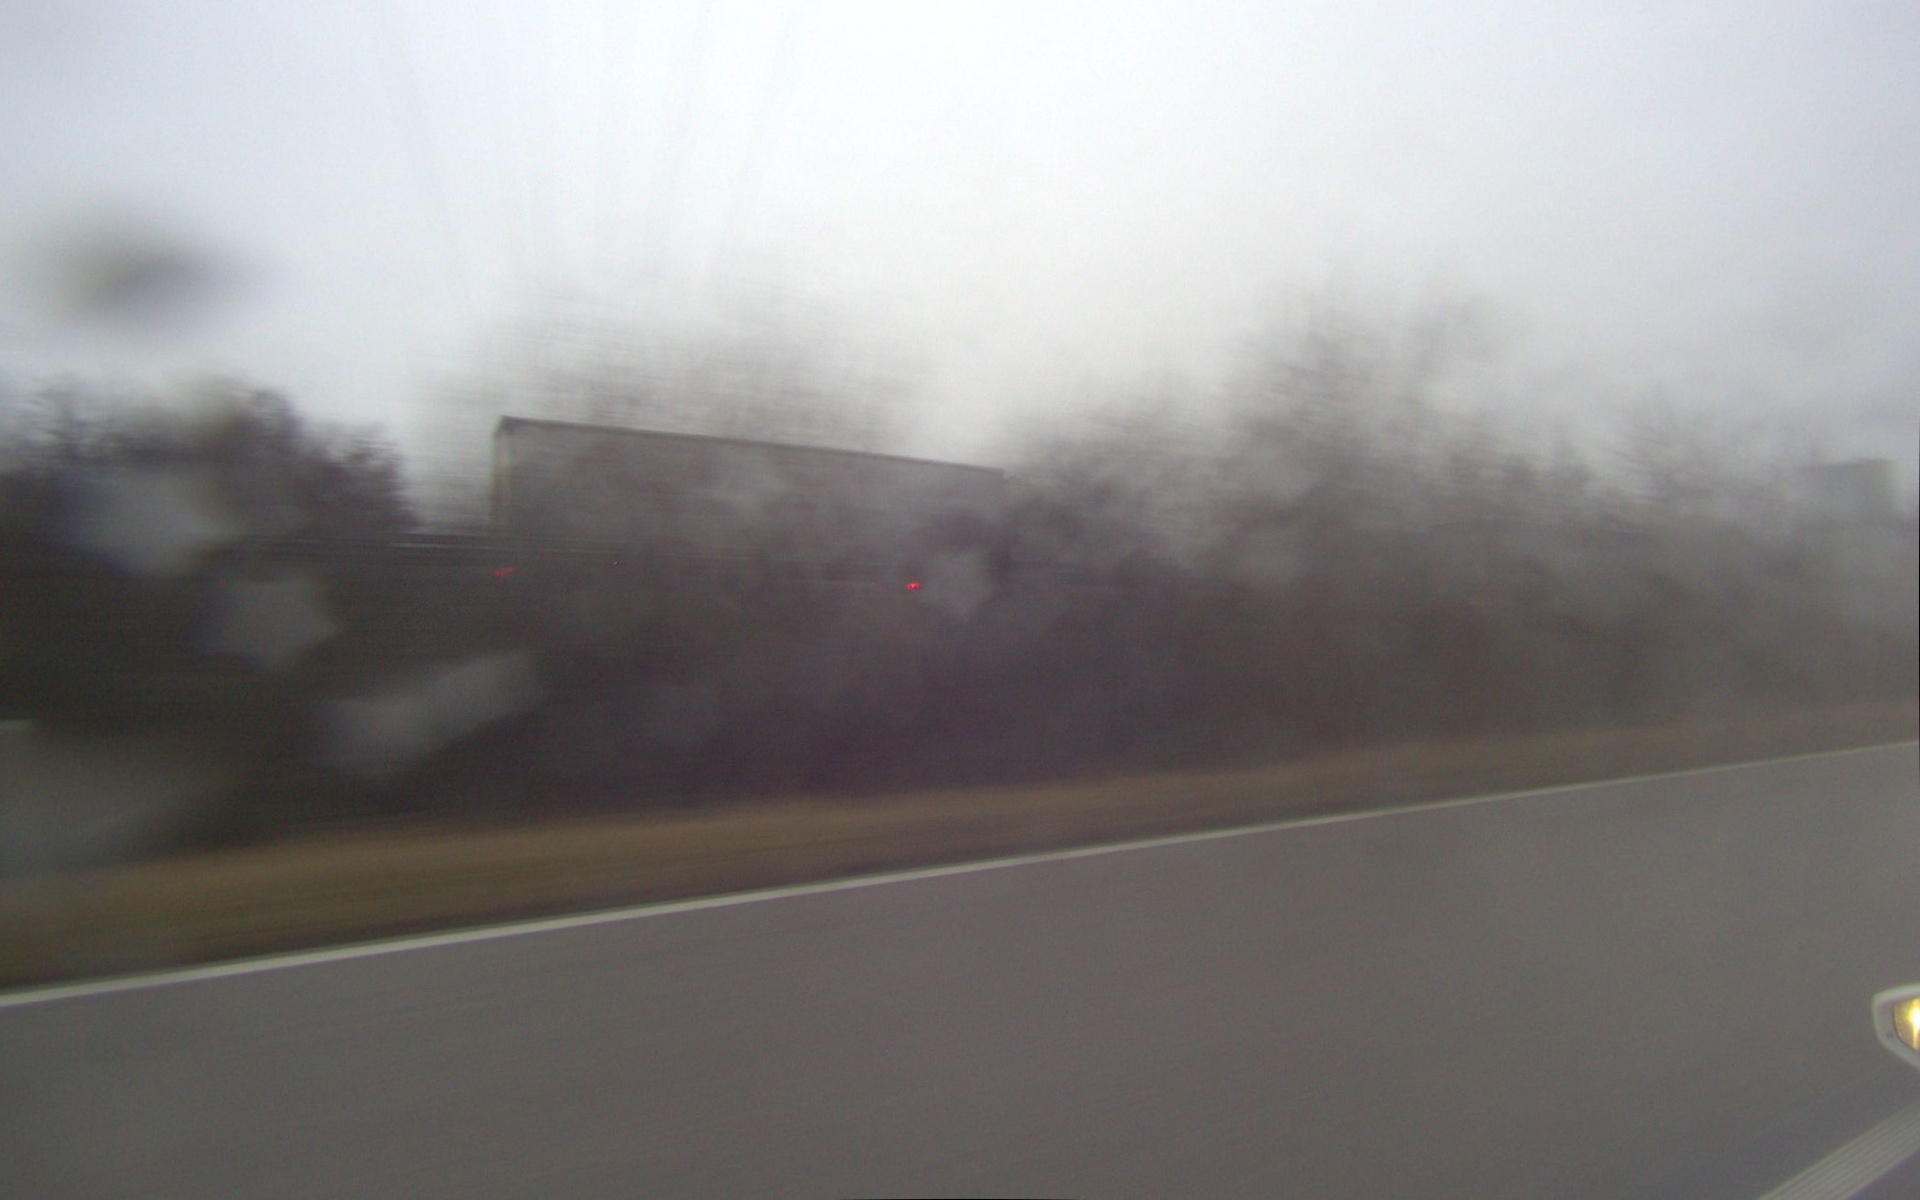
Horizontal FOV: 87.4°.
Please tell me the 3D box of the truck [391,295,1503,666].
[{"bbox_3d":[3.350,-1.983,34.511,39.681,7.815,7.507,2,-1,-31],"label":"truck"}]
